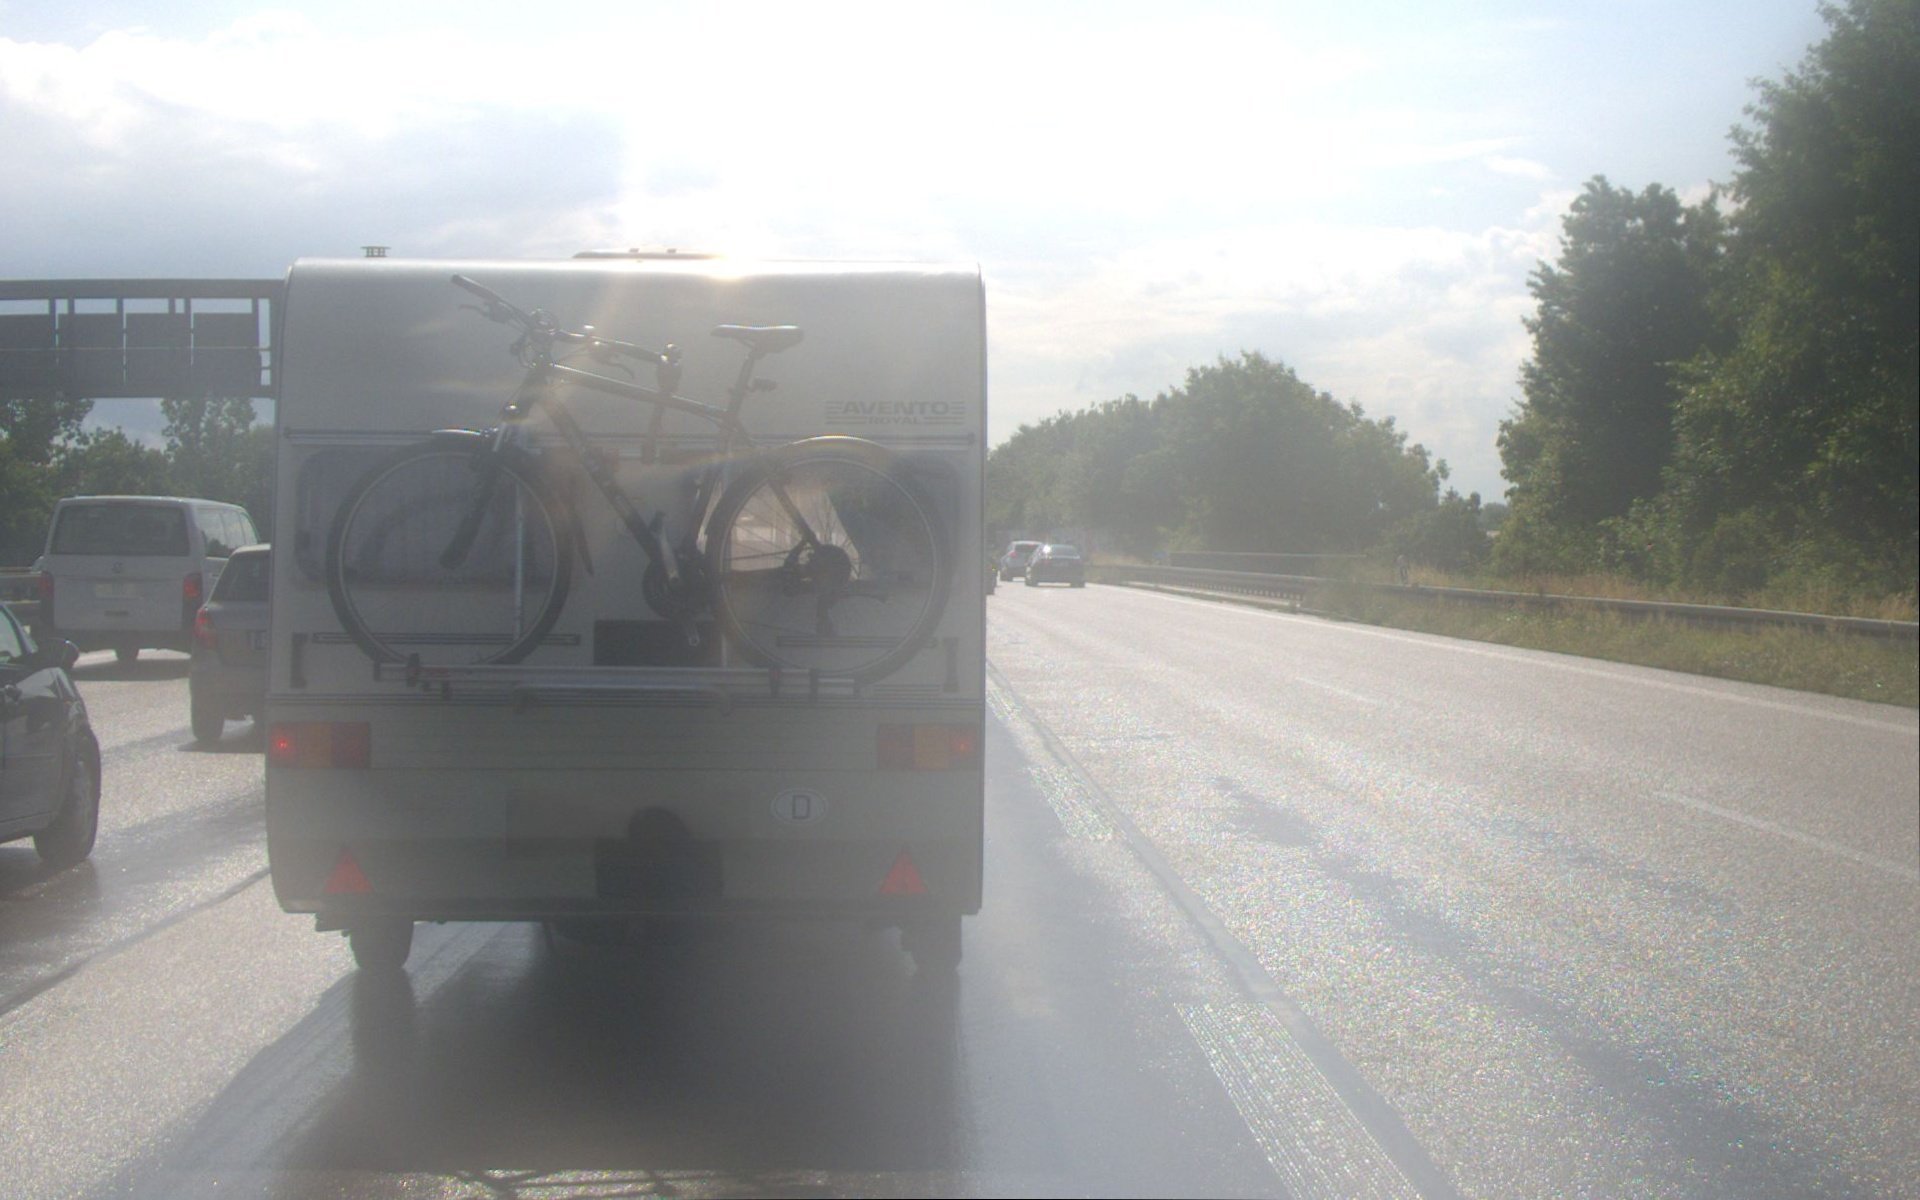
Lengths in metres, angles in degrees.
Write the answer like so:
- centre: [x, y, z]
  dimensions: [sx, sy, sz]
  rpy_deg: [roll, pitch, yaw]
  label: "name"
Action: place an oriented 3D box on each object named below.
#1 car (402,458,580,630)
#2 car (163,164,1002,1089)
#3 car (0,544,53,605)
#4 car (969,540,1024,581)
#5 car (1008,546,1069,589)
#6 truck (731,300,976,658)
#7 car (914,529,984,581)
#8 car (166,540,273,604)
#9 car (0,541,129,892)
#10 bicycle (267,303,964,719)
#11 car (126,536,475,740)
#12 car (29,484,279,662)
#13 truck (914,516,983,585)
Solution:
- centre: [-5.748, -0.688, 42.509]
  dimensions: [1.876, 2.007, 4.001]
  rpy_deg: [1, 1, -4]
  label: "car"
- centre: [-1.113, 0.053, 12.010]
  dimensions: [2.410, 2.665, 4.000]
  rpy_deg: [1, 1, 0]
  label: "car"
- centre: [-26.446, -0.717, 95.293]
  dimensions: [1.733, 1.645, 3.811]
  rpy_deg: [0, 1, -2]
  label: "car"
- centre: [1.479, -1.632, 141.359]
  dimensions: [1.876, 1.623, 4.001]
  rpy_deg: [1, 1, -5]
  label: "car"
- centre: [2.810, -1.181, 123.317]
  dimensions: [1.876, 1.489, 4.001]
  rpy_deg: [1, 1, -3]
  label: "car"
- centre: [-1.573, -1.654, 49.911]
  dimensions: [3.146, 4.610, 10.737]
  rpy_deg: [0, 1, -2]
  label: "truck"
- centre: [-0.359, -1.374, 105.724]
  dimensions: [1.835, 1.552, 4.001]
  rpy_deg: [1, 1, -5]
  label: "car"
- centre: [-17.175, -0.667, 79.886]
  dimensions: [1.845, 1.446, 3.634]
  rpy_deg: [0, 1, -2]
  label: "car"
- centre: [-4.838, 0.475, 14.414]
  dimensions: [1.758, 1.438, 4.000]
  rpy_deg: [0, 1, 0]
  label: "car"
- centre: [-0.965, -0.252, 9.805]
  dimensions: [1.934, 1.137, 0.384]
  rpy_deg: [1, 1, 1]
  label: "bicycle"
- centre: [-5.017, 0.237, 26.668]
  dimensions: [1.987, 1.453, 3.827]
  rpy_deg: [0, 1, 0]
  label: "car"
- centre: [-9.246, -0.341, 39.817]
  dimensions: [1.847, 1.927, 5.017]
  rpy_deg: [0, 1, -2]
  label: "car"
- centre: [-0.428, -1.830, 125.383]
  dimensions: [2.415, 2.435, 6.053]
  rpy_deg: [0, 1, 0]
  label: "truck"
